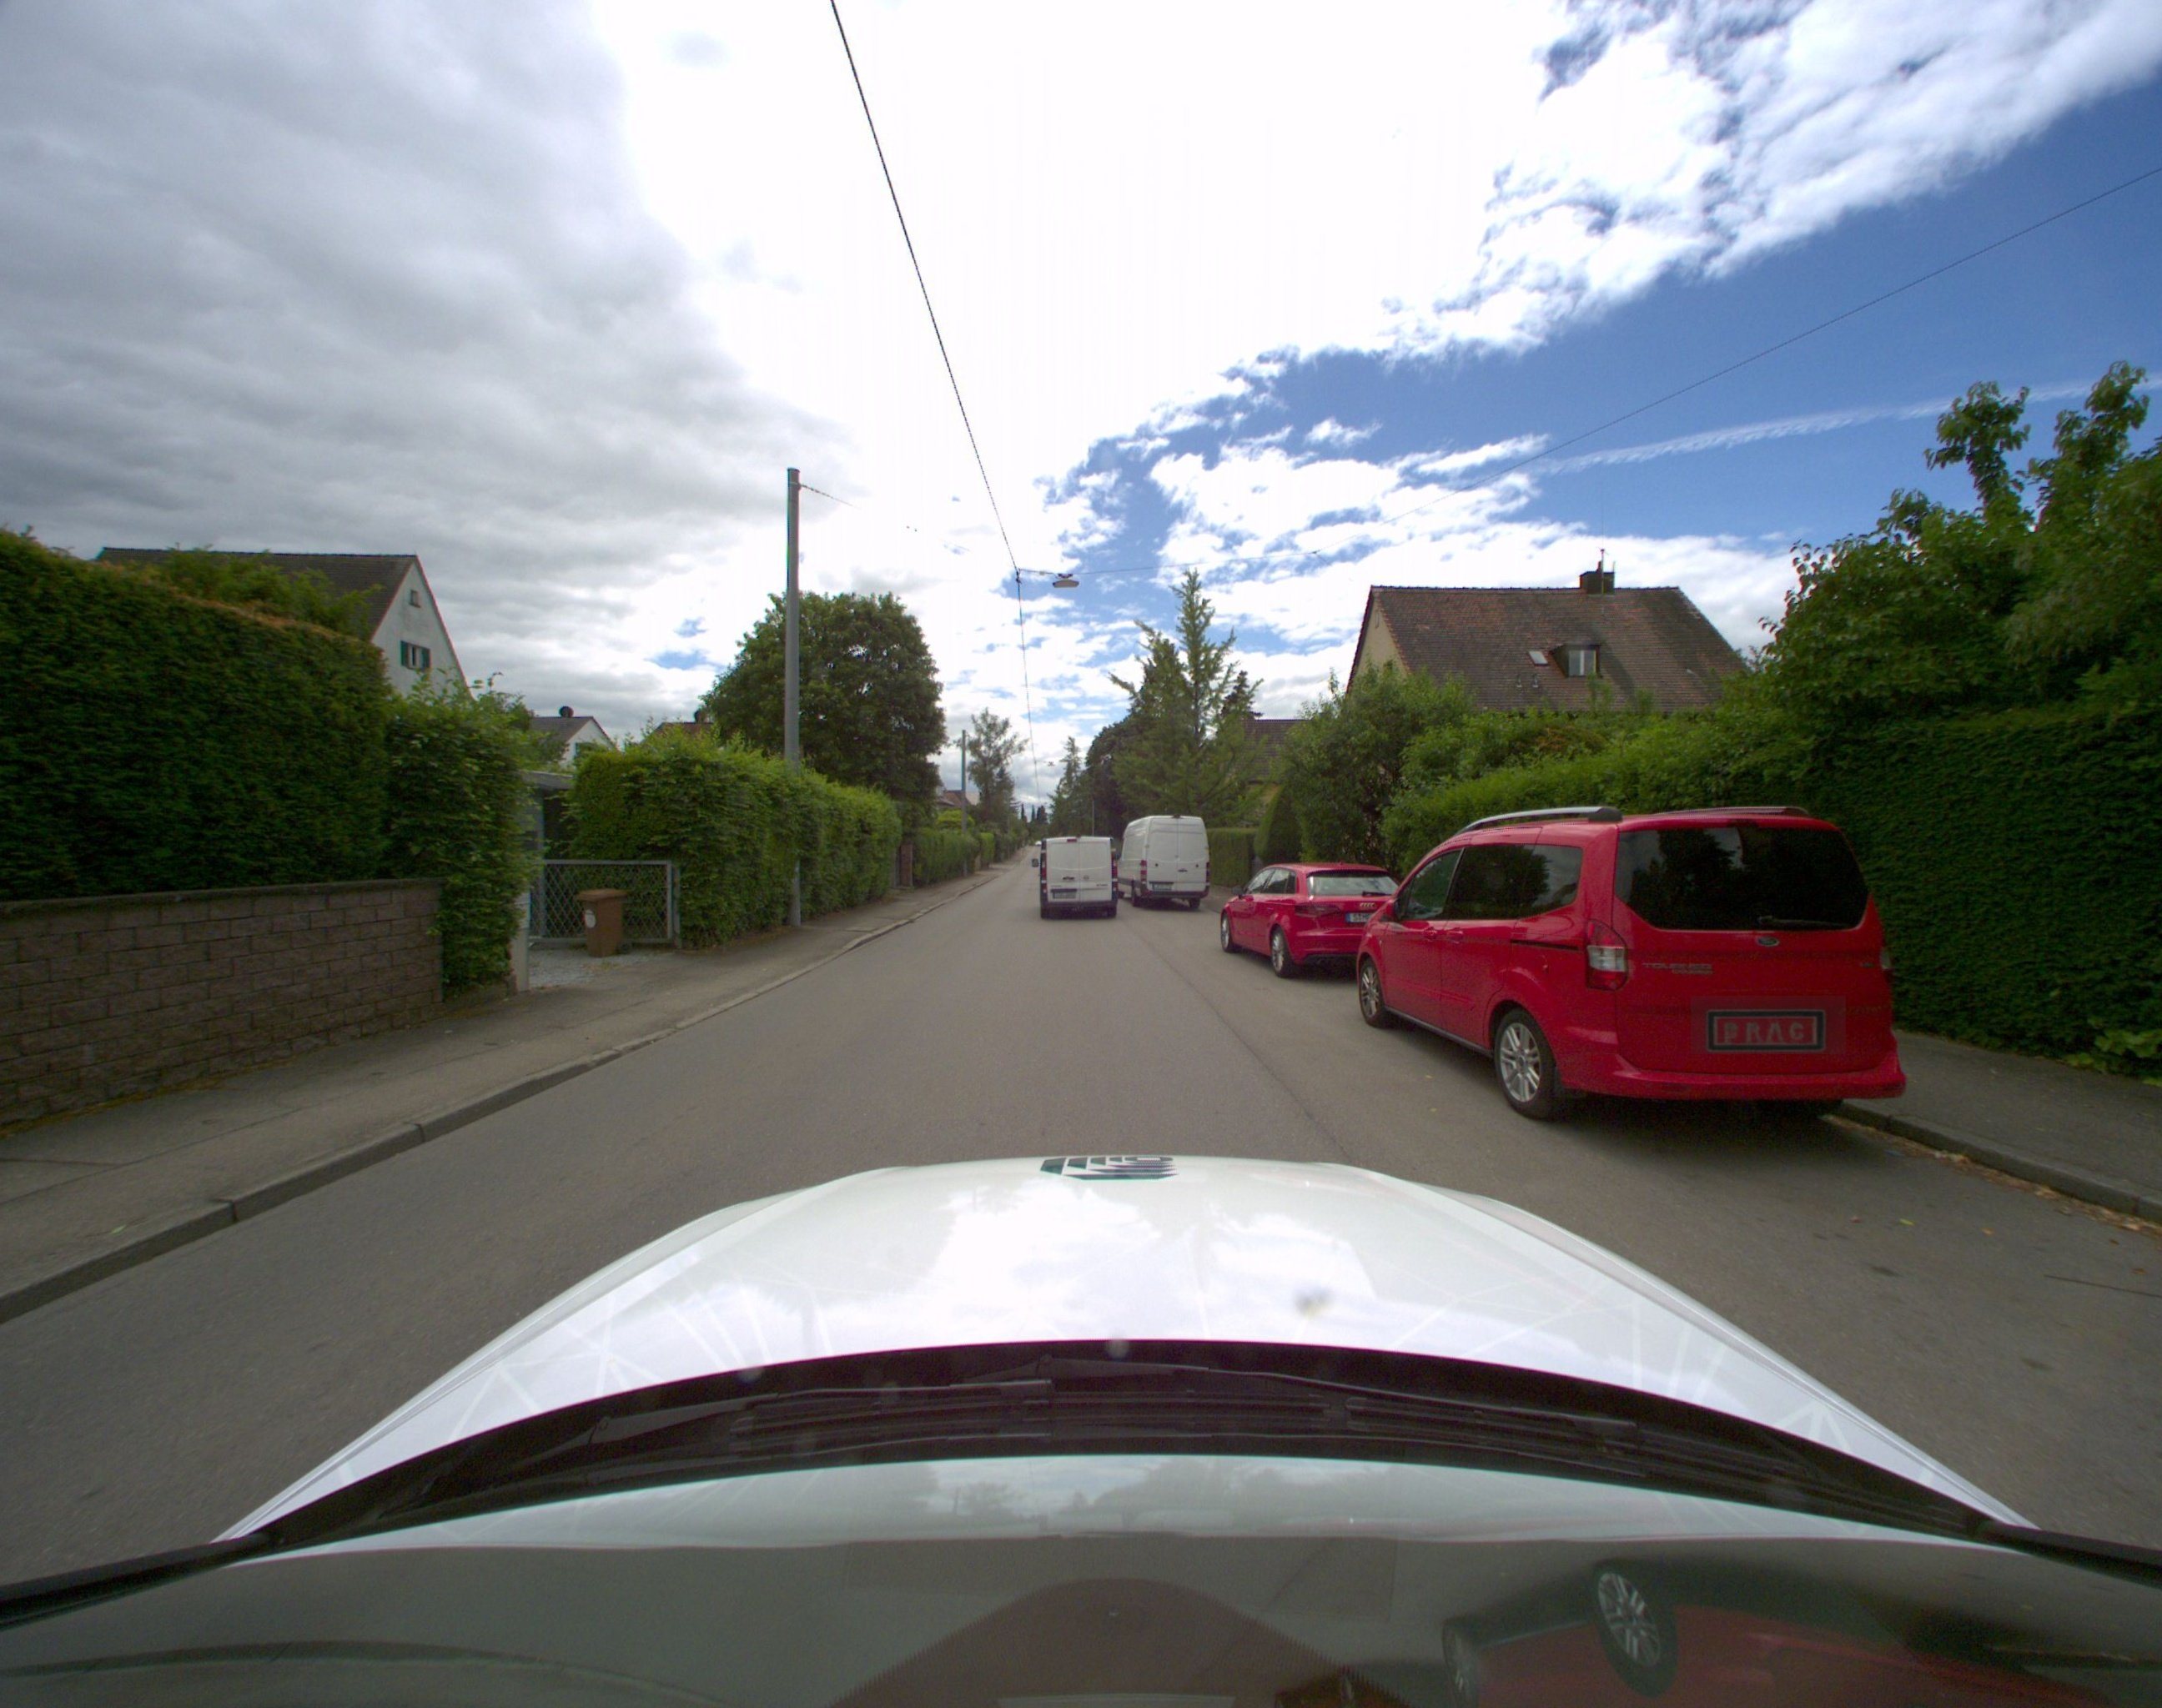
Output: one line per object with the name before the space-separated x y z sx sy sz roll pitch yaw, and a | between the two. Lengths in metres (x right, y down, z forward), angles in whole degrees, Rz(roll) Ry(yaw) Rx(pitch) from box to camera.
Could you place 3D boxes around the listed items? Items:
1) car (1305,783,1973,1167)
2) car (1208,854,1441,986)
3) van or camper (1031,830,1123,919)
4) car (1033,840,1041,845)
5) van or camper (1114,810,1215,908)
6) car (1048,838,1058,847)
car | 3.333 0.550 6.327 1.755 1.797 4.946 0 0 -1
car | 3.139 0.748 11.483 1.710 1.467 4.261 0 0 -5
van or camper | -0.242 0.394 21.131 1.922 2.013 4.820 0 2 -6
car | -11.908 -3.110 219.885 1.681 1.475 3.587 -1 1 5
van or camper | 2.413 0.128 25.400 2.063 2.674 6.318 0 0 -4
car | -5.409 -2.191 158.648 1.772 1.651 3.640 -1 2 -4
